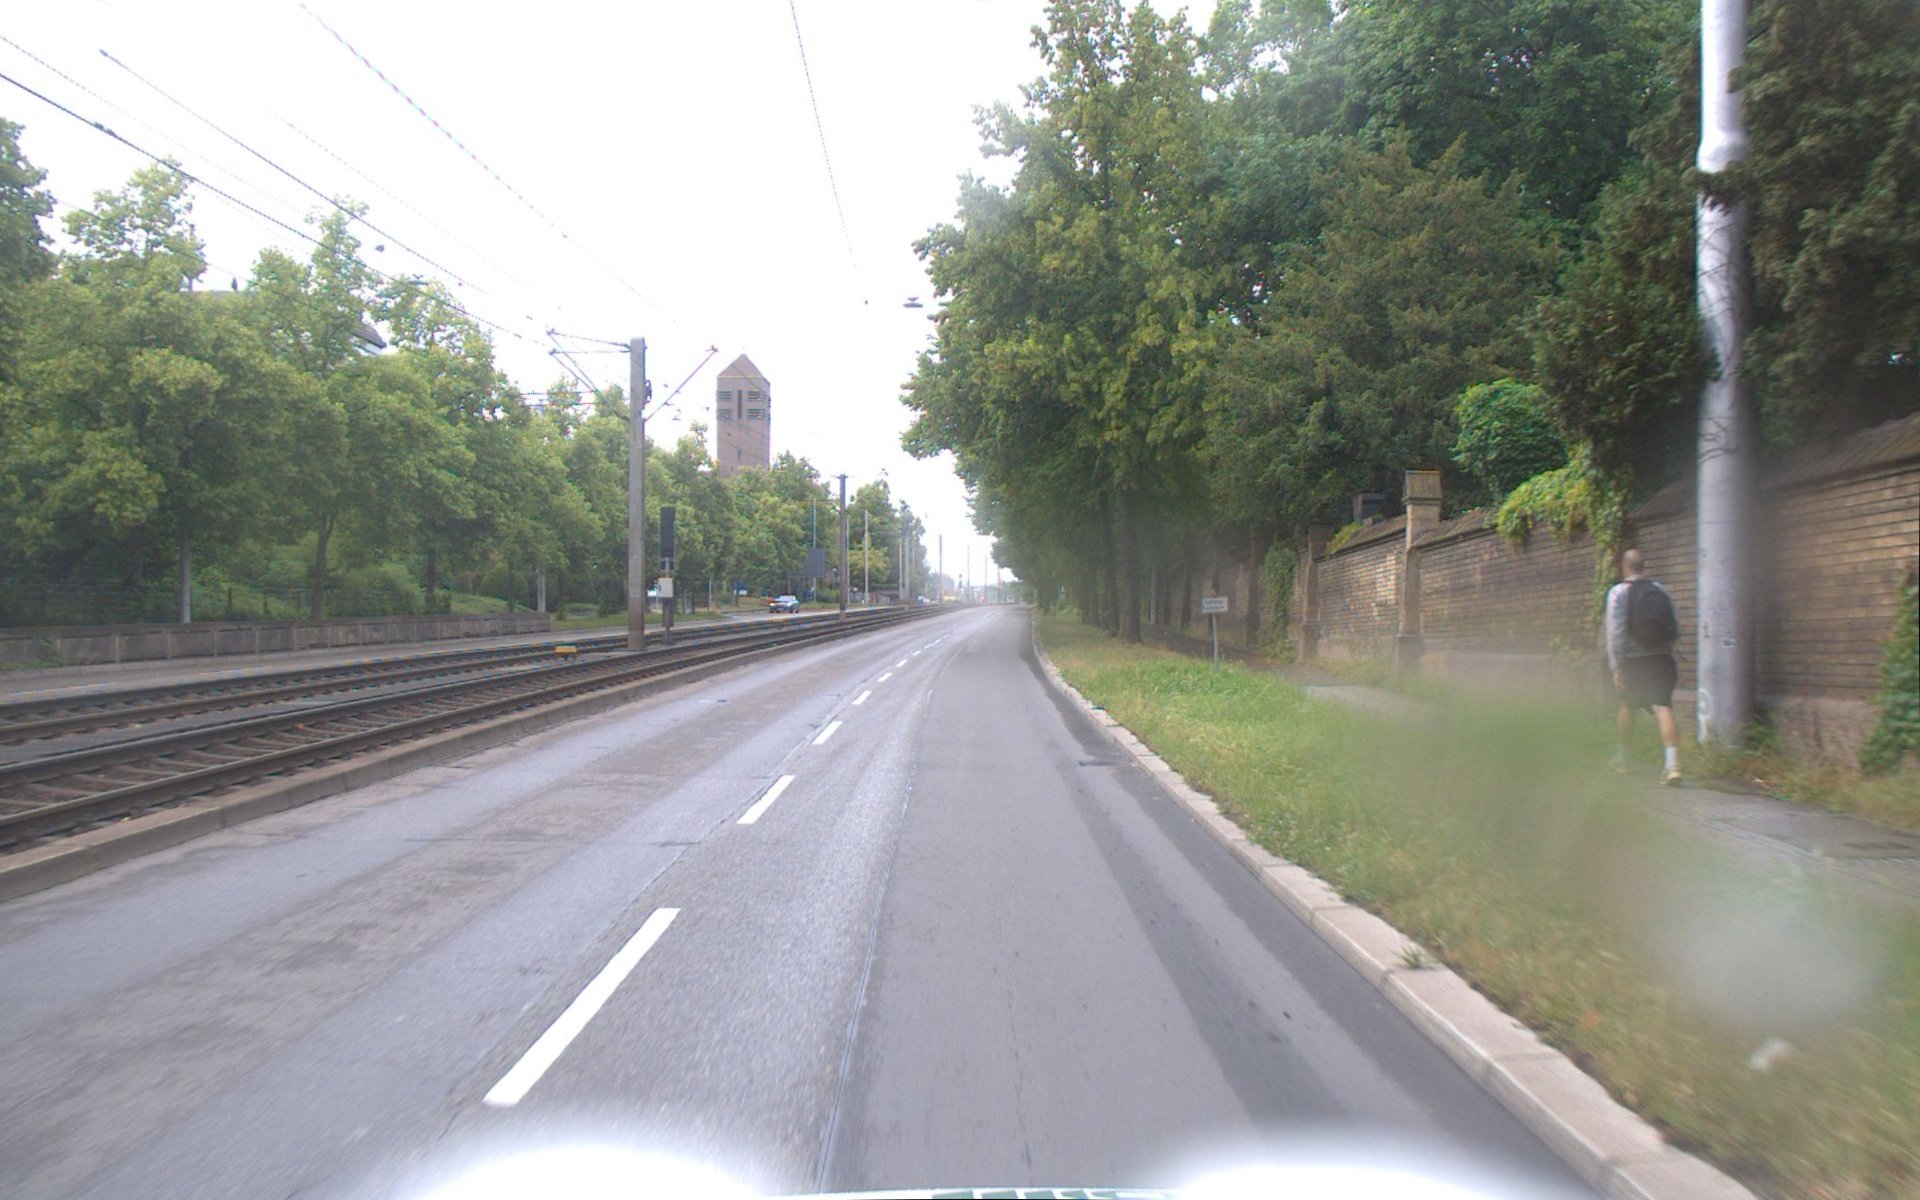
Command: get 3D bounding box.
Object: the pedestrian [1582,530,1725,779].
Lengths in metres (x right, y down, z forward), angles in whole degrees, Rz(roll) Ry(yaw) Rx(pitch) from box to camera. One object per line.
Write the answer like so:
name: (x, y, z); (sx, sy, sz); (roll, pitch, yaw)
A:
pedestrian: (5.238, 0.396, 12.537); (0.694, 1.810, 0.901); (0, 0, -1)

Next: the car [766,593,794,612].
car: (-15.051, 0.196, 138.820); (1.757, 1.557, 4.623); (0, 0, 1)
